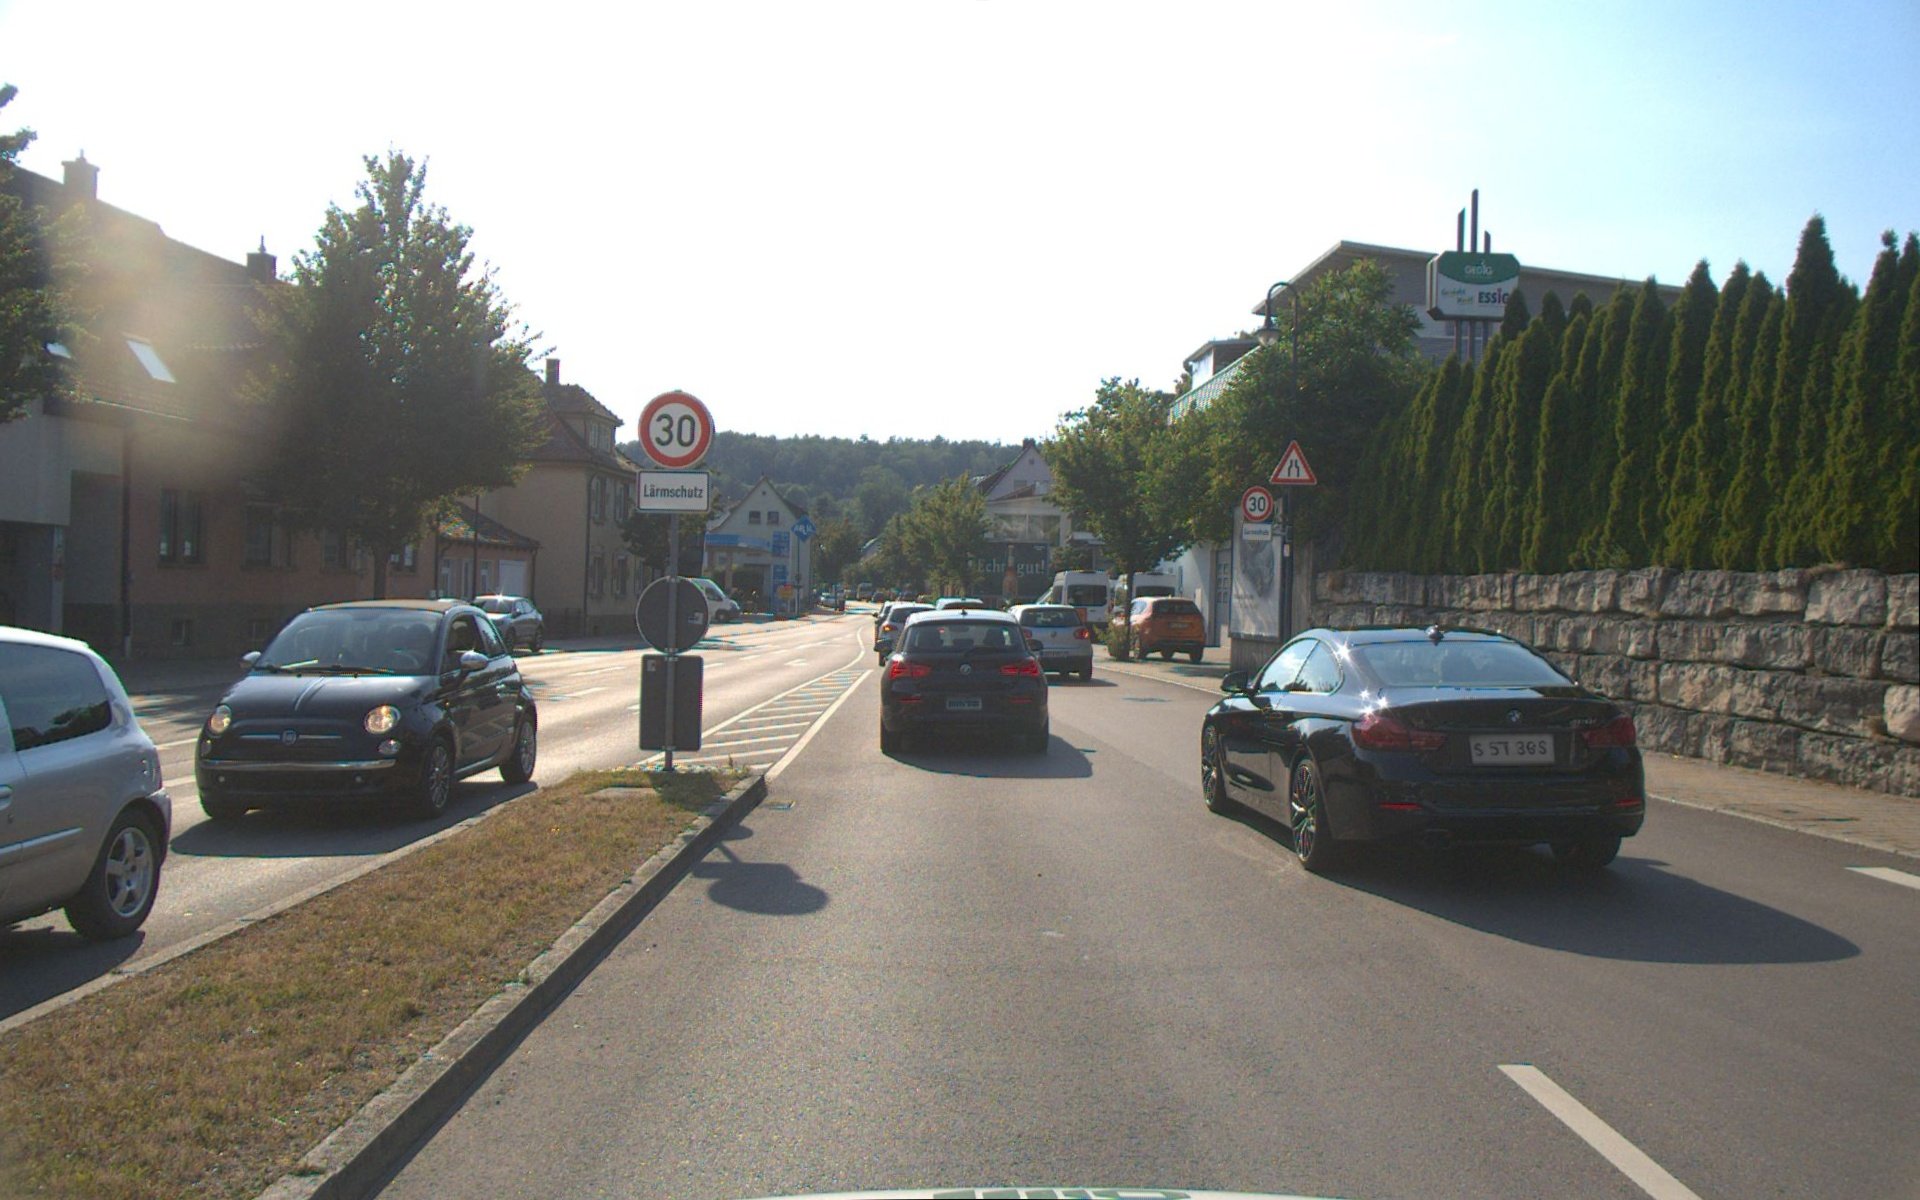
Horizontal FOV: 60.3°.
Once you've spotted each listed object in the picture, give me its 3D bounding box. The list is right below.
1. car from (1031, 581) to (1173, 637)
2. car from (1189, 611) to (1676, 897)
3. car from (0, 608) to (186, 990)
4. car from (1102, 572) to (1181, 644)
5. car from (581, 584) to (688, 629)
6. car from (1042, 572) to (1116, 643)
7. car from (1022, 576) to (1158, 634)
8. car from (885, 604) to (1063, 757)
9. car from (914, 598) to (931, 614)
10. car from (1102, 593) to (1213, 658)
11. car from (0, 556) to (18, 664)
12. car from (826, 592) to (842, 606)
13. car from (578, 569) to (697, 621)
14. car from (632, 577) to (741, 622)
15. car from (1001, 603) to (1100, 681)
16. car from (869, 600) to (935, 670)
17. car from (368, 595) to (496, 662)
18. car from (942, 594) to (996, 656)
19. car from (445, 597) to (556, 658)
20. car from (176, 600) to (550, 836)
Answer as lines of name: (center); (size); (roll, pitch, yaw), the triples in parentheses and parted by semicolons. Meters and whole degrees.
car: (6.198, 0.380, 72.393); (5.925, 2.404, 2.042); (0, 0, -5)
car: (2.748, 0.806, 10.682); (1.666, 1.393, 4.258); (0, 1, -4)
car: (-4.446, 0.754, 5.935); (1.556, 1.452, 3.579); (0, 0, 2)
car: (7.359, 0.282, 67.747); (2.070, 2.769, 6.438); (0, 0, -4)
car: (-16.137, 0.316, 82.151); (4.874, 2.034, 1.936); (1, 2, 0)
car: (4.744, 0.249, 67.181); (2.107, 2.727, 6.598); (0, 0, -4)
car: (5.905, 0.227, 75.374); (5.925, 2.560, 2.042); (0, 0, -5)
car: (0.101, 0.792, 17.890); (1.736, 1.482, 3.515); (0, 0, -1)
car: (-3.715, 0.625, 163.657); (1.565, 1.511, 3.472); (1, 0, -3)
car: (5.354, 0.668, 45.392); (1.801, 1.678, 4.528); (1, 0, -10)
car: (-18.860, 0.101, 28.863); (3.742, 1.914, 1.779); (3, 0, 1)
car: (-13.405, -0.124, 176.248); (1.565, 1.511, 3.472); (1, 0, -3)
car: (-17.154, -0.282, 88.094); (5.797, 2.523, 2.195); (1, 2, 2)
car: (-16.143, -0.012, 97.749); (6.035, 2.487, 2.248); (1, 0, -2)
car: (1.763, 0.803, 33.169); (1.718, 1.438, 3.421); (0, 0, -1)
car: (-1.452, 0.843, 41.486); (1.560, 1.628, 3.892); (0, 0, -2)
car: (-13.330, 0.692, 41.958); (1.631, 1.513, 4.002); (3, 0, 4)
car: (0.251, 0.722, 50.002); (1.570, 1.798, 3.411); (0, 0, 0)
car: (-12.865, 0.736, 46.531); (1.719, 1.504, 4.002); (3, 1, 3)
car: (-4.289, 0.763, 12.432); (1.501, 1.487, 3.506); (0, 0, 0)
